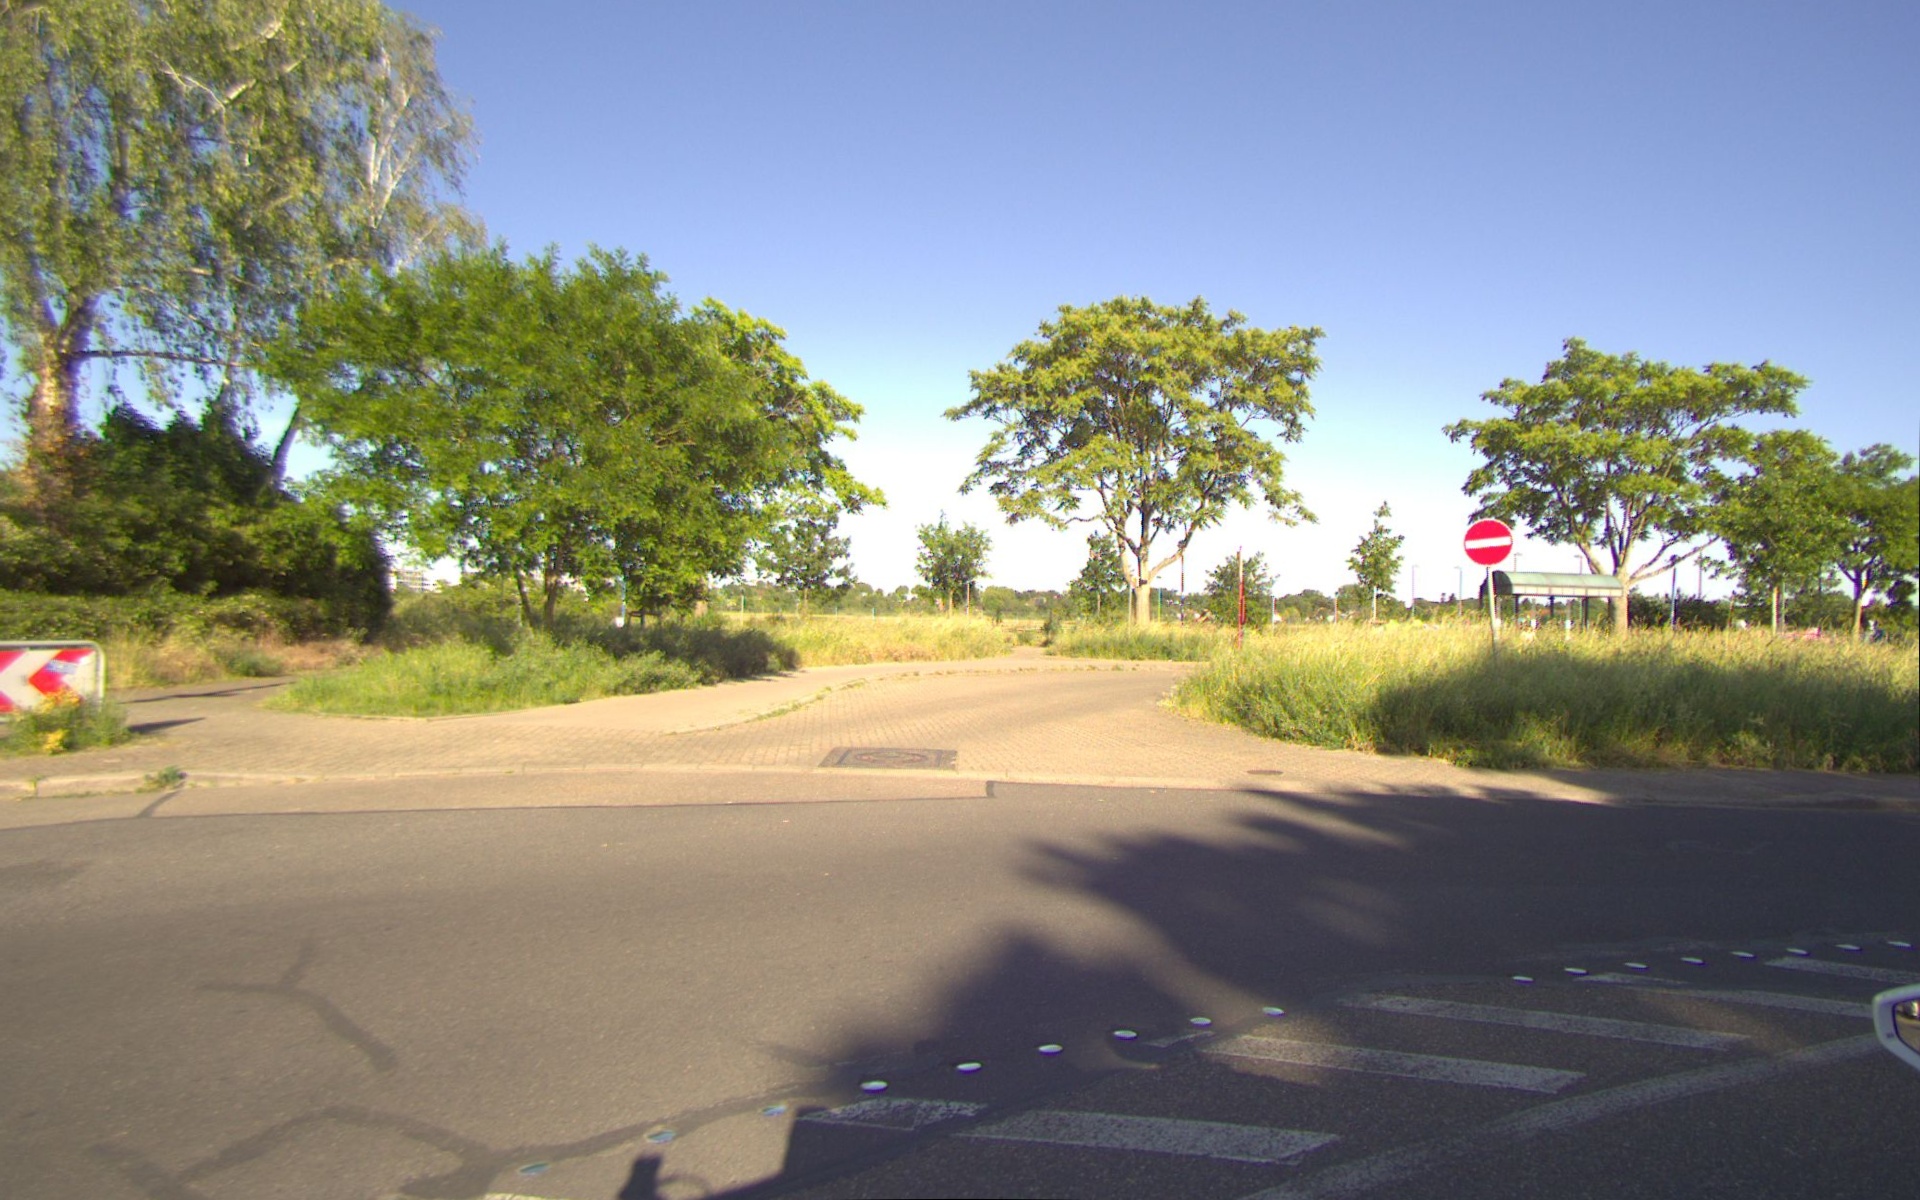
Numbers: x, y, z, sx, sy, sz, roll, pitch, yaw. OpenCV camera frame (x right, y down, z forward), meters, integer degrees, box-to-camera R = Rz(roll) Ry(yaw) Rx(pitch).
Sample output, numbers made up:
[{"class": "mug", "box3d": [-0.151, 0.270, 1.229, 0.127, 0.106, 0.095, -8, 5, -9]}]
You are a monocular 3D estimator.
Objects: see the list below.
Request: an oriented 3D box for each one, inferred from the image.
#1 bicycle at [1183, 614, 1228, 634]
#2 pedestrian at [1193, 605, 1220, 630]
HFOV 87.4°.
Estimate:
[{"class": "bicycle", "box3d": [9.518, 0.942, 38.914, 1.548, 0.713, 0.653, 2, 0, -9]}, {"class": "pedestrian", "box3d": [9.550, 0.671, 38.926, 0.785, 0.953, 0.702, 2, 0, -9]}]
